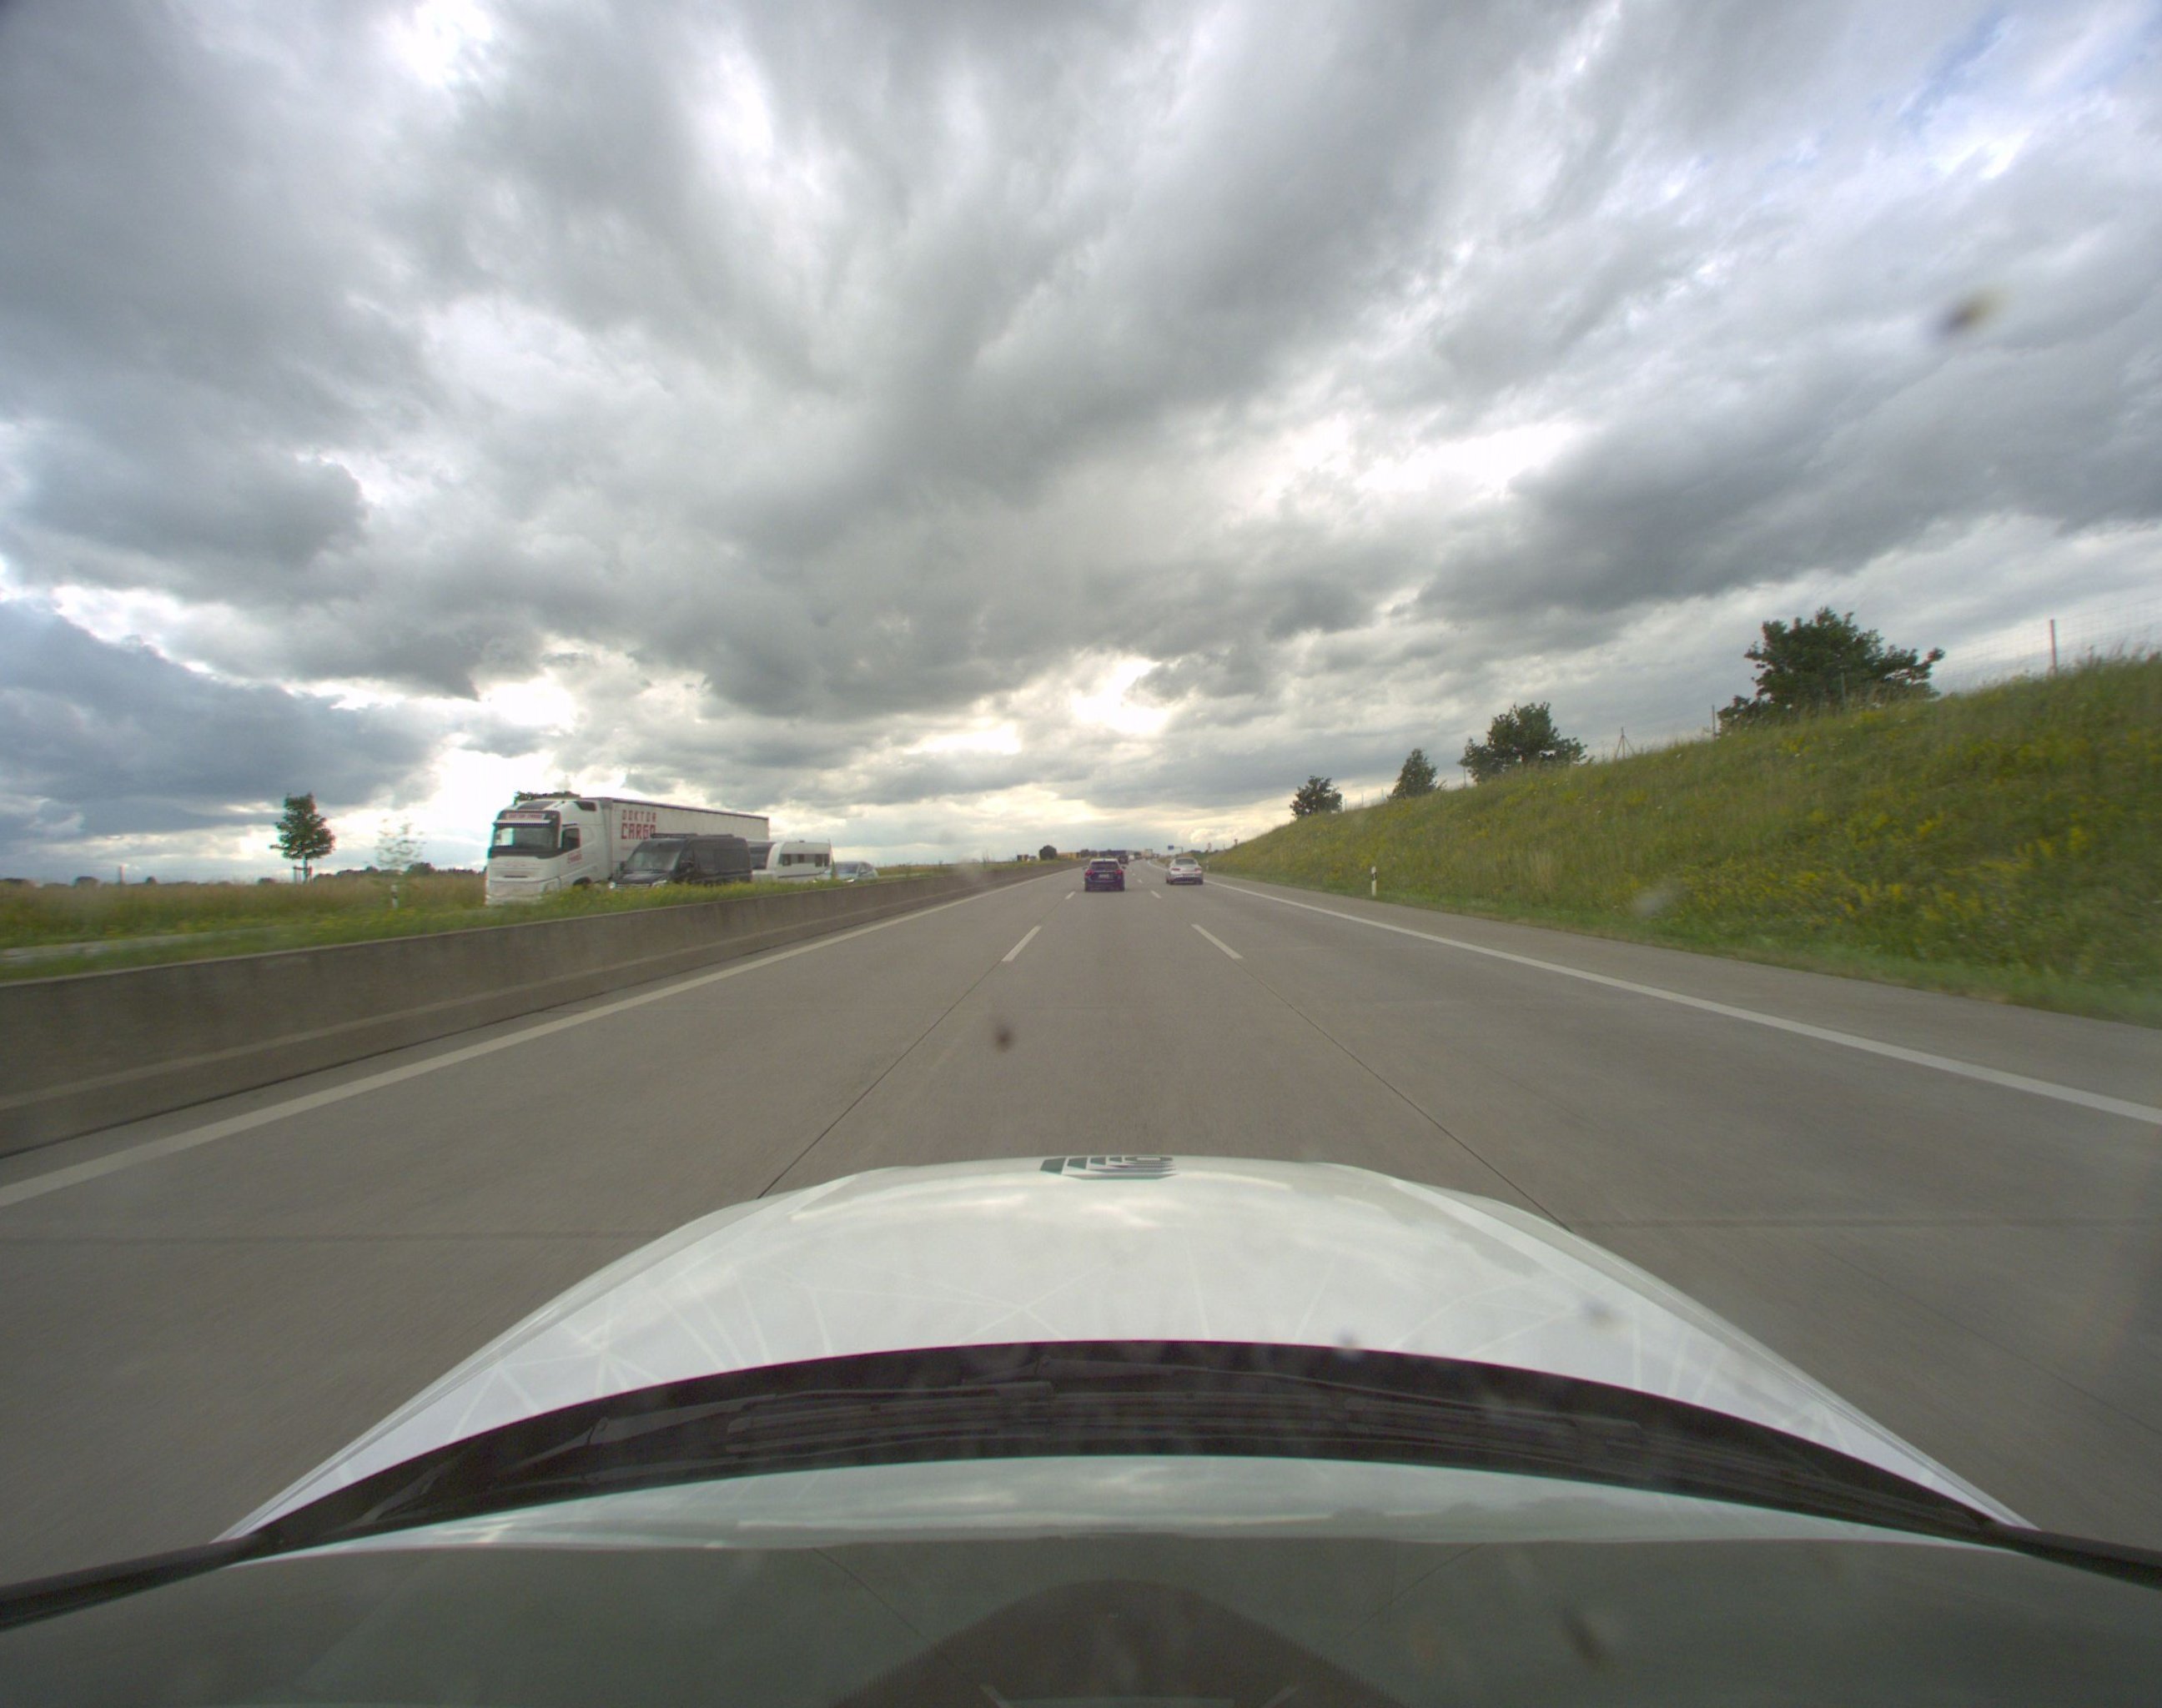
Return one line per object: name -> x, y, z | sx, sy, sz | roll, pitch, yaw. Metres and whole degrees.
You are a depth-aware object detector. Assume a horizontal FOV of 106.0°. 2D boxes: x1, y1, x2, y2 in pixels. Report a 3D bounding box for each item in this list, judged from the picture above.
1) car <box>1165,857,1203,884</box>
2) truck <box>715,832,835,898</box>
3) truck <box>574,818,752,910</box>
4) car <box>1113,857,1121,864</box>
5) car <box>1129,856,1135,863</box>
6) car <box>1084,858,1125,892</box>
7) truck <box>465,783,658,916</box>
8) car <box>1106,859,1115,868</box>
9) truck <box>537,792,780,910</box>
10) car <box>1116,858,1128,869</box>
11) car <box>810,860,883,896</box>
car -> 5.577, 0.879, 44.367 | 1.781, 1.403, 4.225 | -1, -1, 4
truck -> -13.822, 0.458, 37.435 | 2.605, 2.725, 6.923 | -1, 0, 2
truck -> -13.882, 0.309, 27.783 | 2.243, 2.725, 7.128 | -1, 0, 1
car -> 10.915, 1.901, 246.385 | 1.988, 2.014, 3.998 | 0, -1, -1
car -> 15.520, 1.604, 248.268 | 1.985, 2.014, 4.004 | -1, -1, 4
car -> 1.081, 0.935, 37.076 | 1.768, 1.413, 4.002 | -1, -1, 2
truck -> -18.298, -0.102, 29.259 | 2.830, 4.256, 6.094 | -1, -1, 2
car -> 6.719, 2.182, 187.685 | 2.038, 2.014, 4.002 | -1, -1, 2
truck -> -17.986, 0.035, 36.727 | 2.830, 4.256, 14.573 | -1, -1, 2
car -> 7.460, 1.728, 147.720 | 1.987, 2.014, 3.998 | -1, -1, -1
car -> -10.310, 1.013, 36.170 | 1.987, 1.482, 4.212 | -1, 0, 0
